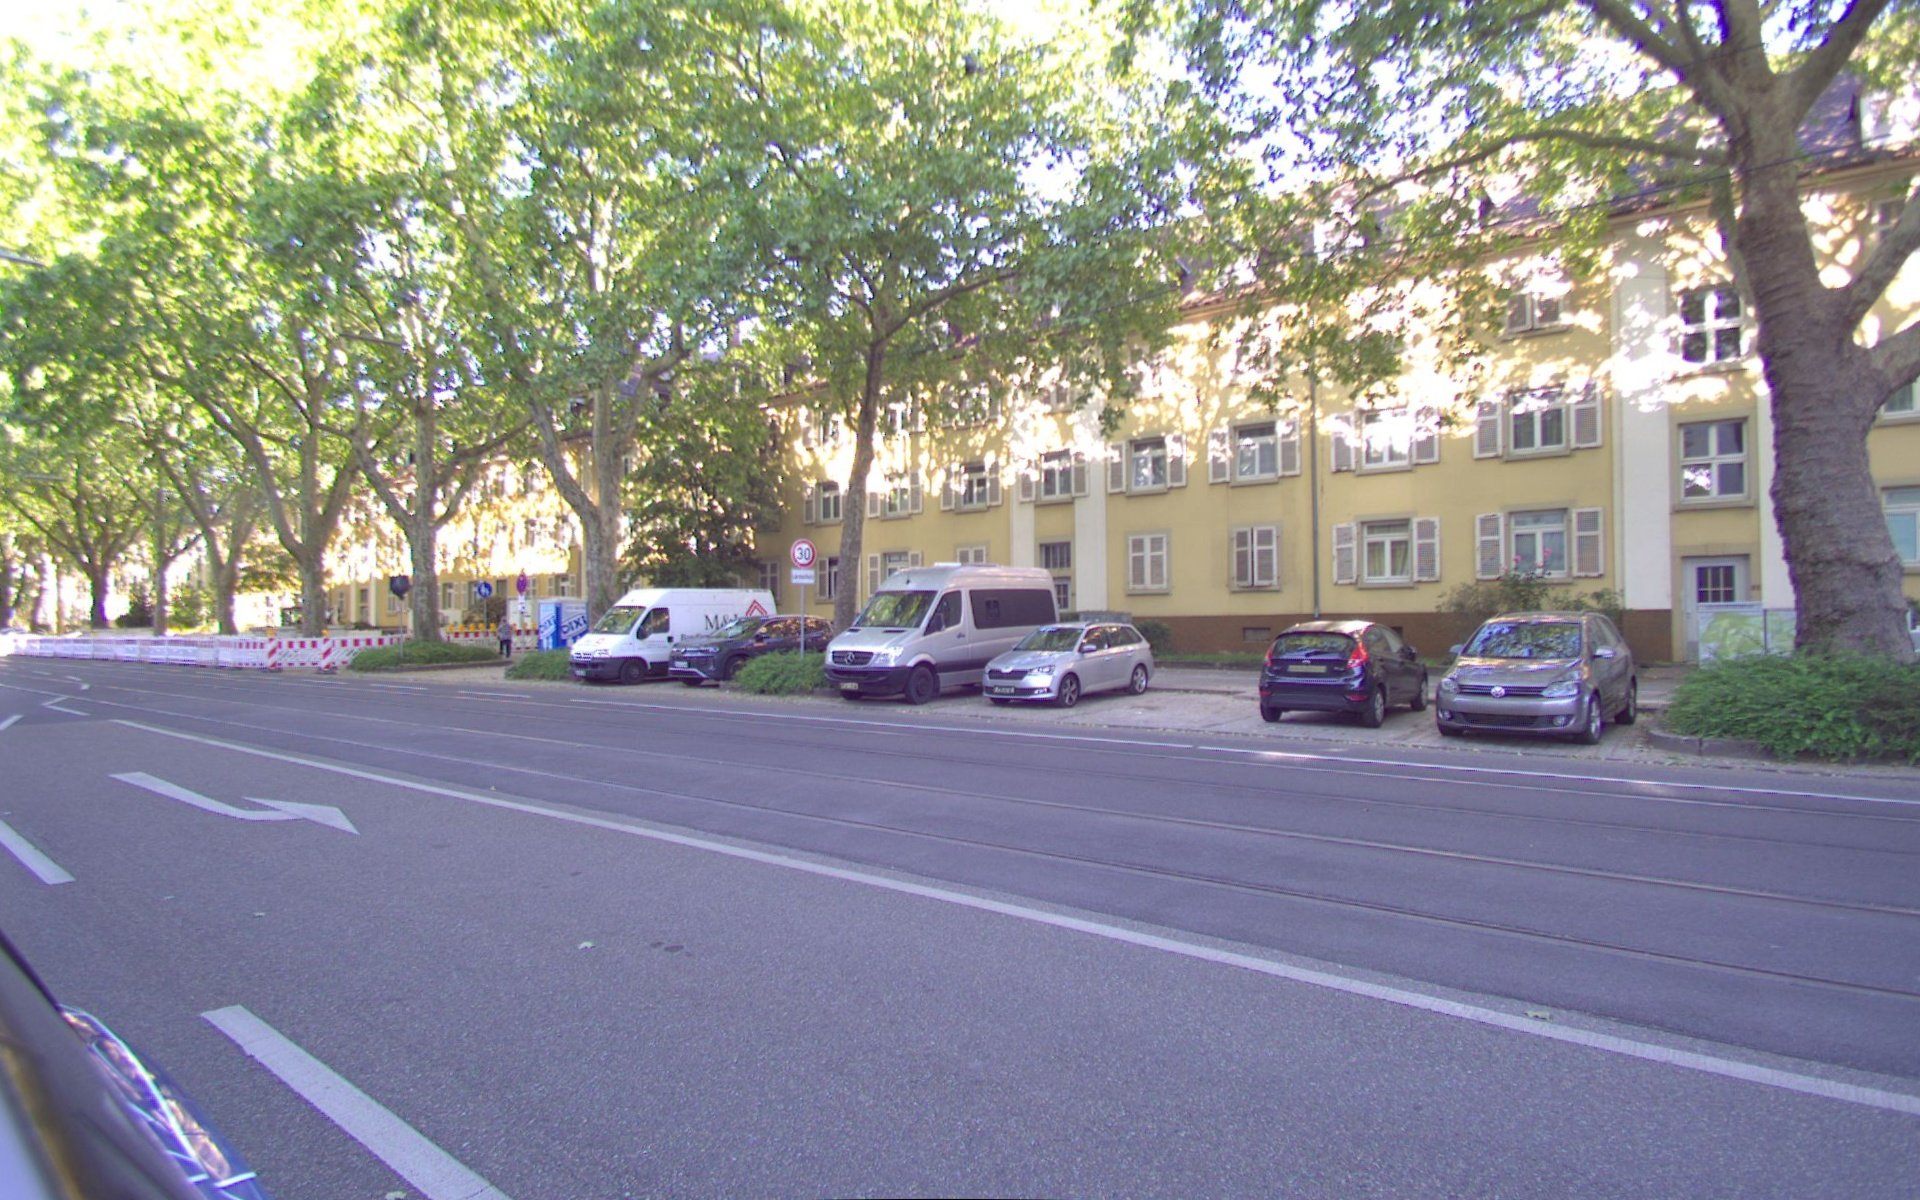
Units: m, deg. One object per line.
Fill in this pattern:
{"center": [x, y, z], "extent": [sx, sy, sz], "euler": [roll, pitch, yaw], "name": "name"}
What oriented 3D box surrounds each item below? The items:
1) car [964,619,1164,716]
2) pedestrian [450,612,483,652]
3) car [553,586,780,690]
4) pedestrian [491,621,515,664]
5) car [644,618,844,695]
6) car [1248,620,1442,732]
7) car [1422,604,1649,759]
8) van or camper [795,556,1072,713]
{"center": [2.040, 1.160, 18.905], "extent": [1.729, 1.481, 4.102], "euler": [0, 1, 40], "name": "car"}
{"center": [-25.604, 1.672, 52.504], "extent": [1.233, 2.029, 1.085], "euler": [-2, -2, 36], "name": "pedestrian"}
{"center": [-7.442, 0.950, 26.285], "extent": [2.023, 2.394, 5.543], "euler": [-2, -2, 38], "name": "car"}
{"center": [-17.189, 1.580, 38.055], "extent": [0.717, 1.585, 0.588], "euler": [-2, -2, 43], "name": "pedestrian"}
{"center": [-5.088, 1.276, 24.366], "extent": [1.967, 1.643, 4.520], "euler": [-2, -2, 38], "name": "car"}
{"center": [5.910, 1.050, 15.328], "extent": [1.740, 1.440, 3.528], "euler": [-2, -1, 39], "name": "car"}
{"center": [7.740, 0.928, 13.414], "extent": [1.814, 1.617, 4.145], "euler": [-2, 0, 41], "name": "car"}
{"center": [-0.313, 0.614, 20.490], "extent": [2.227, 2.697, 6.052], "euler": [-2, -1, 38], "name": "van or camper"}
